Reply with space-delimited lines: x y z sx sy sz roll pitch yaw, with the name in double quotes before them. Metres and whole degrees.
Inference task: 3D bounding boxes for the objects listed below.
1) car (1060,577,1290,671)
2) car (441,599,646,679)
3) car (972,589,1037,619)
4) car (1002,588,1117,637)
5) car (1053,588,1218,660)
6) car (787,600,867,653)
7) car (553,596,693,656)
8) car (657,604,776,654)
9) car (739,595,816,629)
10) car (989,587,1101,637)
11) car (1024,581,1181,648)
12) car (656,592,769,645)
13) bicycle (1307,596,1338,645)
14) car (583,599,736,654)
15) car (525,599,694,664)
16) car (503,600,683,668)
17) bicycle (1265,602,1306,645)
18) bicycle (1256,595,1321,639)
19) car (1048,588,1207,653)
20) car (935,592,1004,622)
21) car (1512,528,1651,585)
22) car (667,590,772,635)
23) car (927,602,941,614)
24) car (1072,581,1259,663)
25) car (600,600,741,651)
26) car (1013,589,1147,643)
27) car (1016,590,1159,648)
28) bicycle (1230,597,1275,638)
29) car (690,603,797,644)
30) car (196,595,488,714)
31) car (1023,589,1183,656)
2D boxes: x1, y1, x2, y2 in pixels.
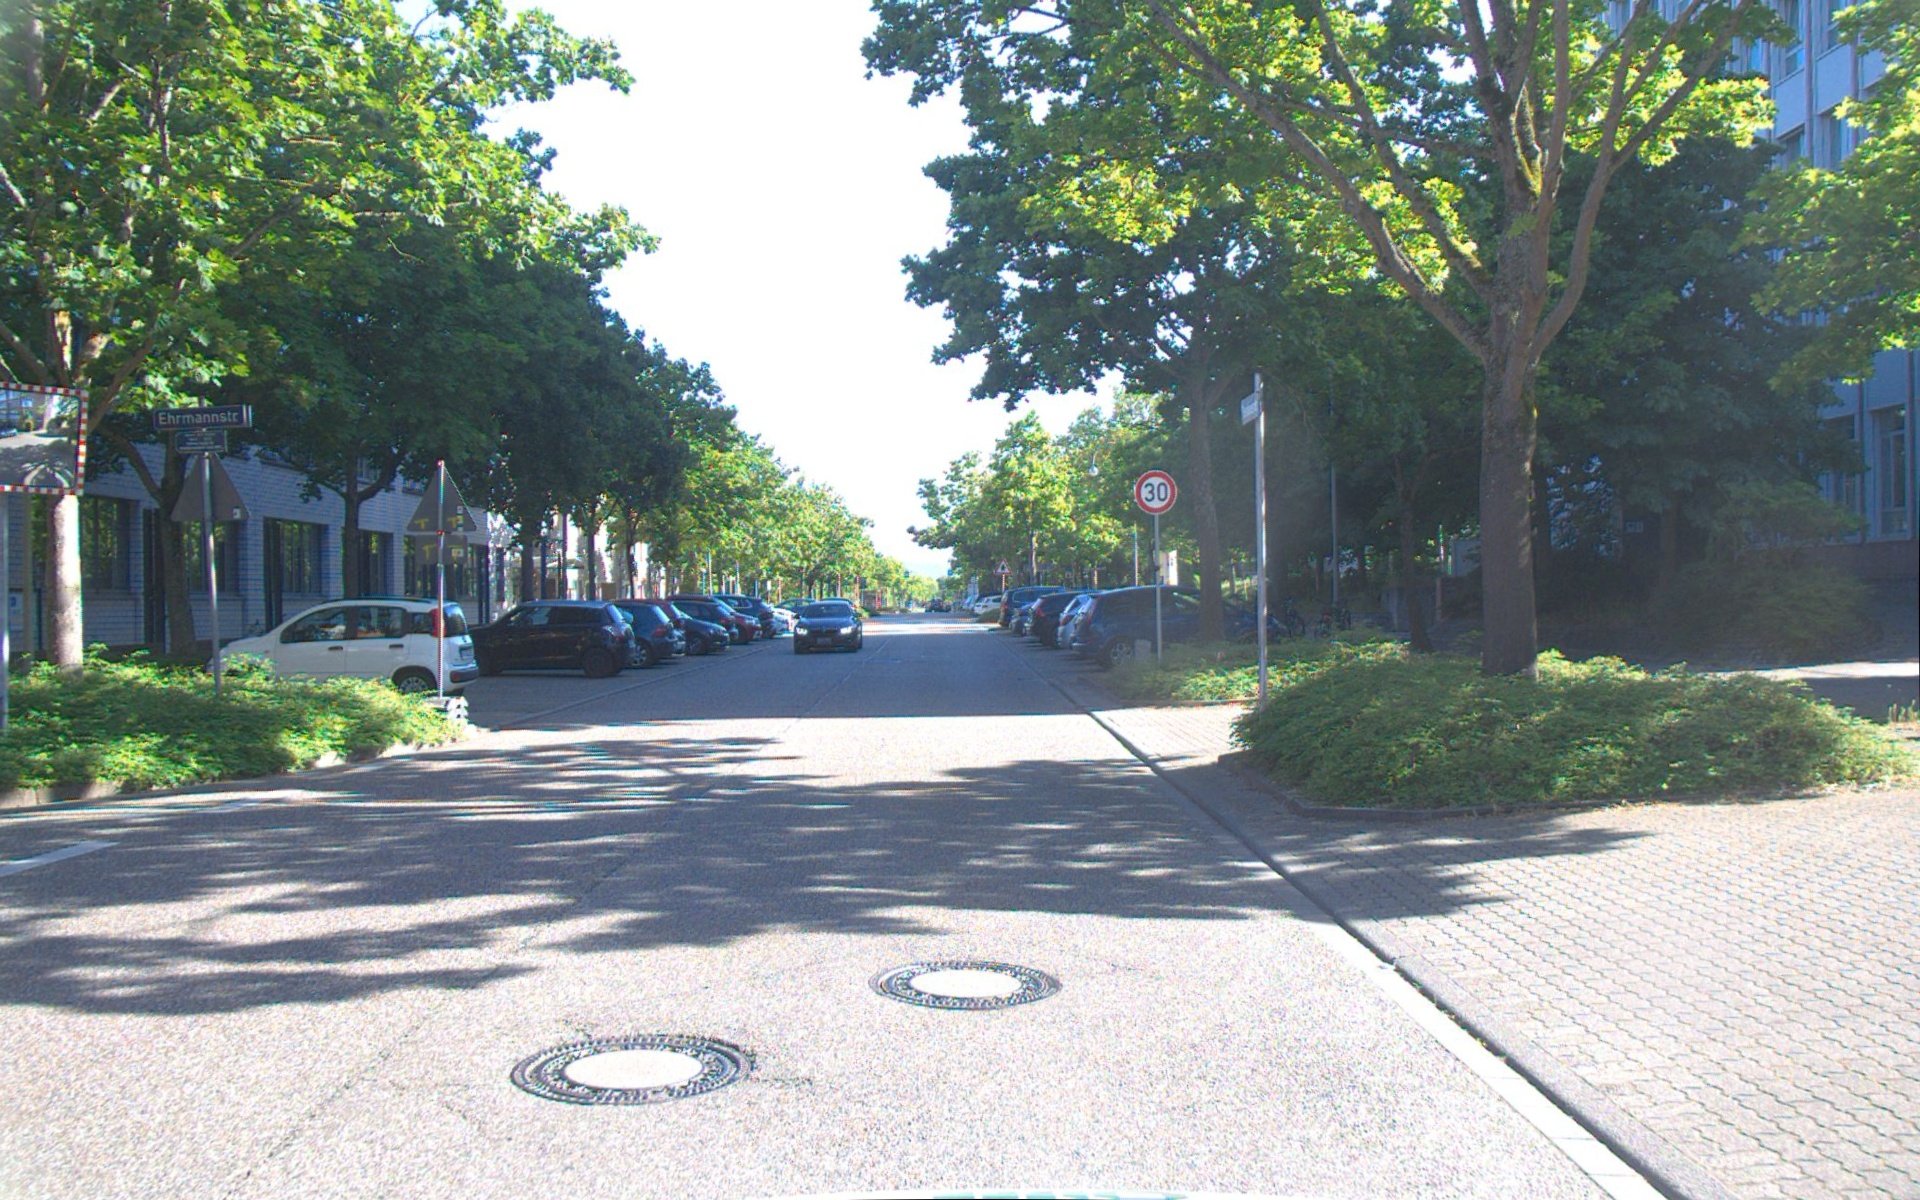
"car" 4.179 0.456 32.569 4.183 1.662 1.857 -2 0 -4
"car" -8.249 0.750 32.962 3.657 1.489 1.676 -1 0 -2
"car" 2.784 0.231 104.332 3.910 1.823 1.997 -1 0 -6
"car" 3.589 0.459 60.231 3.964 1.609 1.640 -2 0 -4
"car" 4.059 0.555 38.595 3.563 1.492 1.632 -2 0 -4
"car" -3.776 0.730 47.532 1.775 1.440 4.109 -1 0 3
"car" -8.661 0.664 42.712 3.353 1.489 1.694 0 1 -6
"car" -8.626 1.038 58.821 3.904 1.614 1.765 -2 -1 2
"car" -9.866 0.636 89.634 3.904 1.683 1.861 -2 0 1
"car" 3.079 0.424 60.370 3.818 1.685 1.856 -2 0 -6
"car" 3.920 0.396 45.747 4.160 1.581 1.921 -3 0 4
"car" -8.236 0.619 55.187 3.468 1.686 1.761 -1 -1 1
"bicycle" 8.102 0.447 36.978 0.371 1.065 1.886 -3 0 4
"car" -8.189 0.724 45.301 3.907 1.437 1.665 0 0 -3
"car" -8.477 0.748 40.285 3.789 1.482 1.753 0 1 -4
"car" -8.284 0.754 37.518 3.685 1.470 1.631 1 0 -1
"bicycle" 8.574 0.606 43.622 0.372 1.097 1.782 -1 0 -12
"bicycle" 8.387 0.424 42.270 0.377 1.097 1.759 -1 0 -42
"car" 4.225 0.500 42.060 3.787 1.493 1.966 -2 0 -1
"car" 0.560 0.404 97.811 3.910 1.653 1.997 -1 0 -6
"car" 21.129 -1.469 56.306 3.992 1.814 1.998 1 0 -5
"car" -9.694 0.498 66.868 3.904 1.683 1.861 -2 0 1
"car" -3.688 1.122 232.311 1.894 1.625 4.365 -1 0 -1
"car" 4.454 0.453 36.235 3.804 1.552 1.895 -2 2 -1
"car" -8.323 0.729 47.852 3.911 1.431 1.603 1 0 -7
"car" 3.745 0.488 51.996 3.964 1.517 1.549 -2 0 -4
"car" 3.750 0.550 48.974 3.968 1.619 1.547 -1 0 -8
"bicycle" 8.180 0.483 46.321 0.373 1.097 1.776 -1 0 -21
"car" -8.148 0.876 62.415 3.814 1.489 1.857 -1 0 -2
"car" -8.636 0.778 23.330 3.509 1.577 1.636 -1 -3 -3
"car" 3.516 0.555 41.027 3.678 1.474 1.878 -2 0 -4
